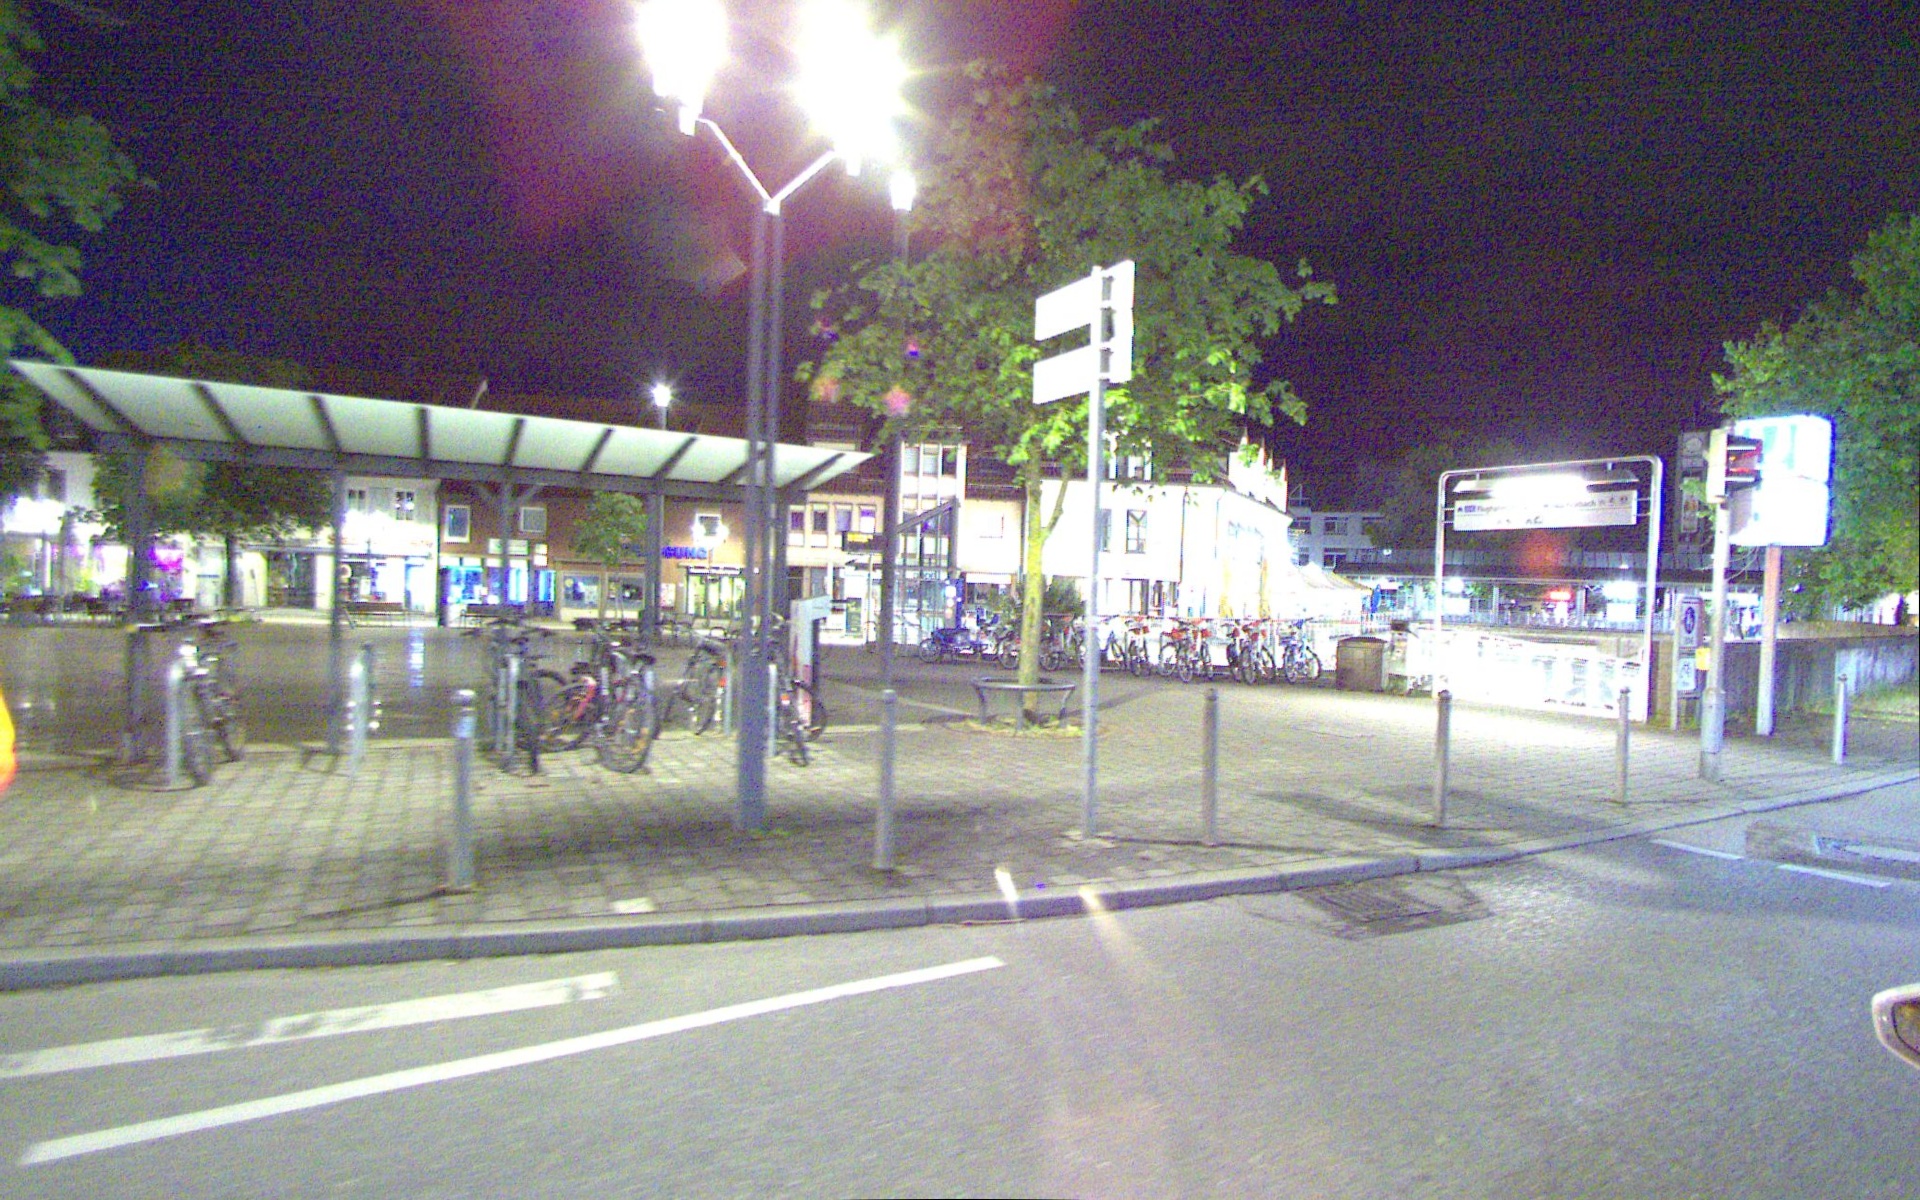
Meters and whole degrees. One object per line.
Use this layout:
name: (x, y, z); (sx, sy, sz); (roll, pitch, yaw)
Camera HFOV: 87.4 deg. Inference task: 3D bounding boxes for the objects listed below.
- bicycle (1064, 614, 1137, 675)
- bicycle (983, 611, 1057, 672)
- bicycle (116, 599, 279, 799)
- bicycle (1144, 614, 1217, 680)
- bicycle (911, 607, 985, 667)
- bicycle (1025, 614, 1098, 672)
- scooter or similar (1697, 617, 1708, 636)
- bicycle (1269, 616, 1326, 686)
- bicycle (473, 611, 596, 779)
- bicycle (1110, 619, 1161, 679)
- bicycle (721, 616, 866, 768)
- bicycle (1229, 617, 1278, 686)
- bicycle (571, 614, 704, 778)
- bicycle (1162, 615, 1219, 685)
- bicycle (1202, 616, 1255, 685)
bicycle: (2.833, 0.870, 20.118); (0.600, 1.140, 1.738); (0, 0, 41)
bicycle: (1.260, 0.835, 20.798); (0.600, 1.181, 1.738); (0, 1, 41)
bicycle: (-5.197, 0.600, 6.944); (0.662, 1.179, 1.760); (1, 0, -30)
bicycle: (4.274, 0.883, 19.385); (0.600, 1.181, 1.737); (0, 1, 42)
bicycle: (-0.237, 0.779, 21.791); (0.600, 1.235, 1.738); (0, 1, 41)
bicycle: (2.102, 0.863, 20.618); (0.600, 1.115, 1.738); (0, 0, 41)
scooter or similar: (53.721, 1.921, 72.703); (0.423, 1.302, 1.146); (0, 0, 25)
bicycle: (6.186, 0.904, 18.361); (0.747, 1.177, 1.745); (0, 0, 27)
bicycle: (-3.345, 0.679, 7.820); (0.662, 1.120, 1.608); (2, 0, -30)
bicycle: (3.432, 0.923, 19.534); (0.597, 1.084, 1.746); (0, 0, 23)
bicycle: (-1.463, 0.729, 8.578); (0.662, 1.120, 1.608); (2, 0, -30)
bicycle: (5.335, 0.903, 18.216); (0.535, 1.170, 1.745); (0, 0, 27)
bicycle: (-2.624, 0.707, 8.057); (0.662, 1.120, 1.608); (2, 0, -30)
bicycle: (4.219, 0.881, 18.307); (0.597, 1.181, 1.745); (0, 0, 27)
bicycle: (4.988, 0.896, 18.593); (0.597, 1.181, 1.745); (0, 0, 27)
